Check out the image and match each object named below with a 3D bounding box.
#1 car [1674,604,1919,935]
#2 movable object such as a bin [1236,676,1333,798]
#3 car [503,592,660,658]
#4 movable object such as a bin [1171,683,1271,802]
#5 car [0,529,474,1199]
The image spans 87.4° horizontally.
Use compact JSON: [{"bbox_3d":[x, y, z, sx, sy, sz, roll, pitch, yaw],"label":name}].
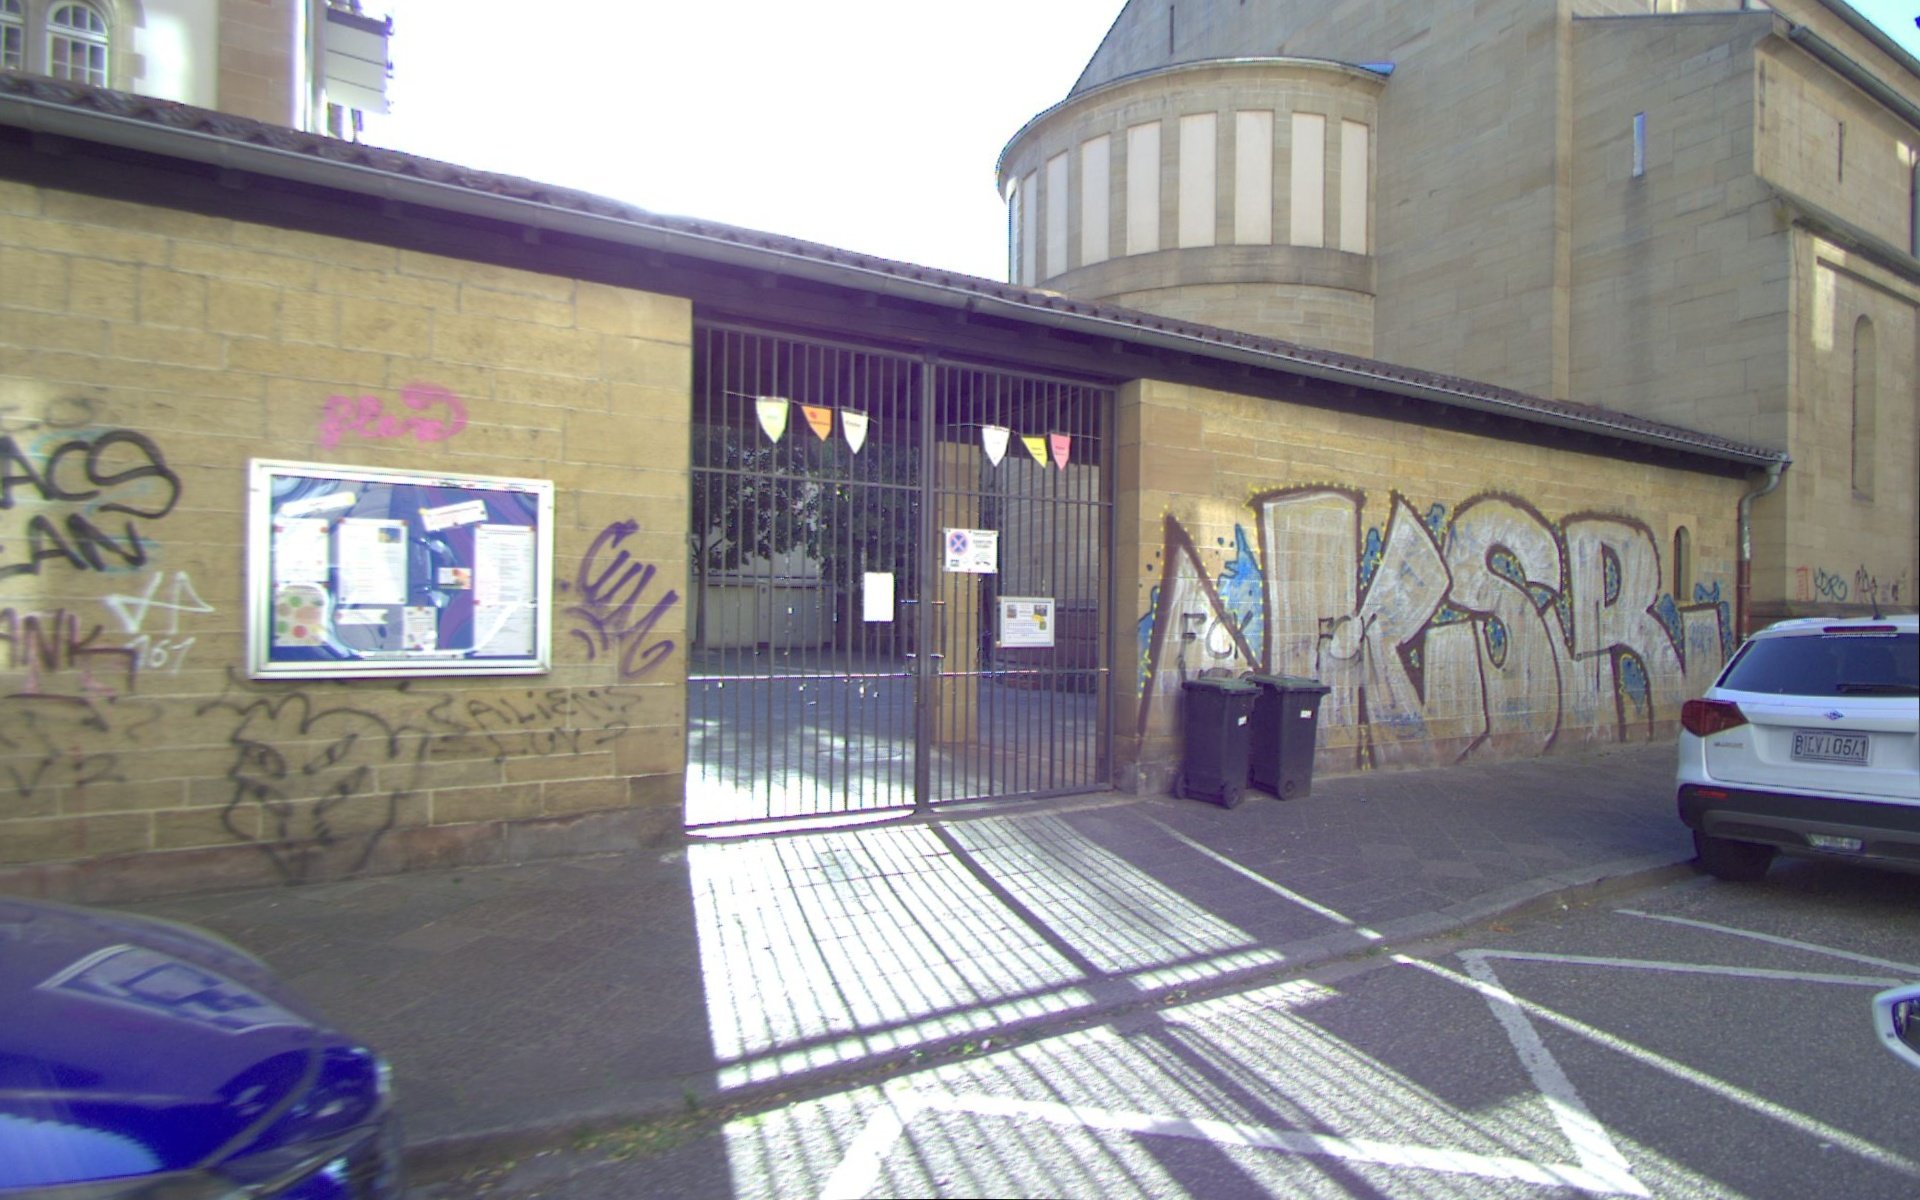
[{"bbox_3d":[6.217,0.859,6.029,3.823,1.607,1.734,1,-1,-30],"label":"car"},{"bbox_3d":[2.571,1.064,7.968,0.564,0.887,0.479,1,-1,-30],"label":"movable object such as a bin"},{"bbox_3d":[-11.234,0.741,29.836,4.192,1.827,1.957,1,-1,-26],"label":"car"},{"bbox_3d":[1.973,1.056,7.609,0.583,0.818,0.451,1,-1,-30],"label":"movable object such as a bin"},{"bbox_3d":[-2.569,0.696,0.800,3.815,1.496,1.679,1,-3,-31],"label":"car"}]
